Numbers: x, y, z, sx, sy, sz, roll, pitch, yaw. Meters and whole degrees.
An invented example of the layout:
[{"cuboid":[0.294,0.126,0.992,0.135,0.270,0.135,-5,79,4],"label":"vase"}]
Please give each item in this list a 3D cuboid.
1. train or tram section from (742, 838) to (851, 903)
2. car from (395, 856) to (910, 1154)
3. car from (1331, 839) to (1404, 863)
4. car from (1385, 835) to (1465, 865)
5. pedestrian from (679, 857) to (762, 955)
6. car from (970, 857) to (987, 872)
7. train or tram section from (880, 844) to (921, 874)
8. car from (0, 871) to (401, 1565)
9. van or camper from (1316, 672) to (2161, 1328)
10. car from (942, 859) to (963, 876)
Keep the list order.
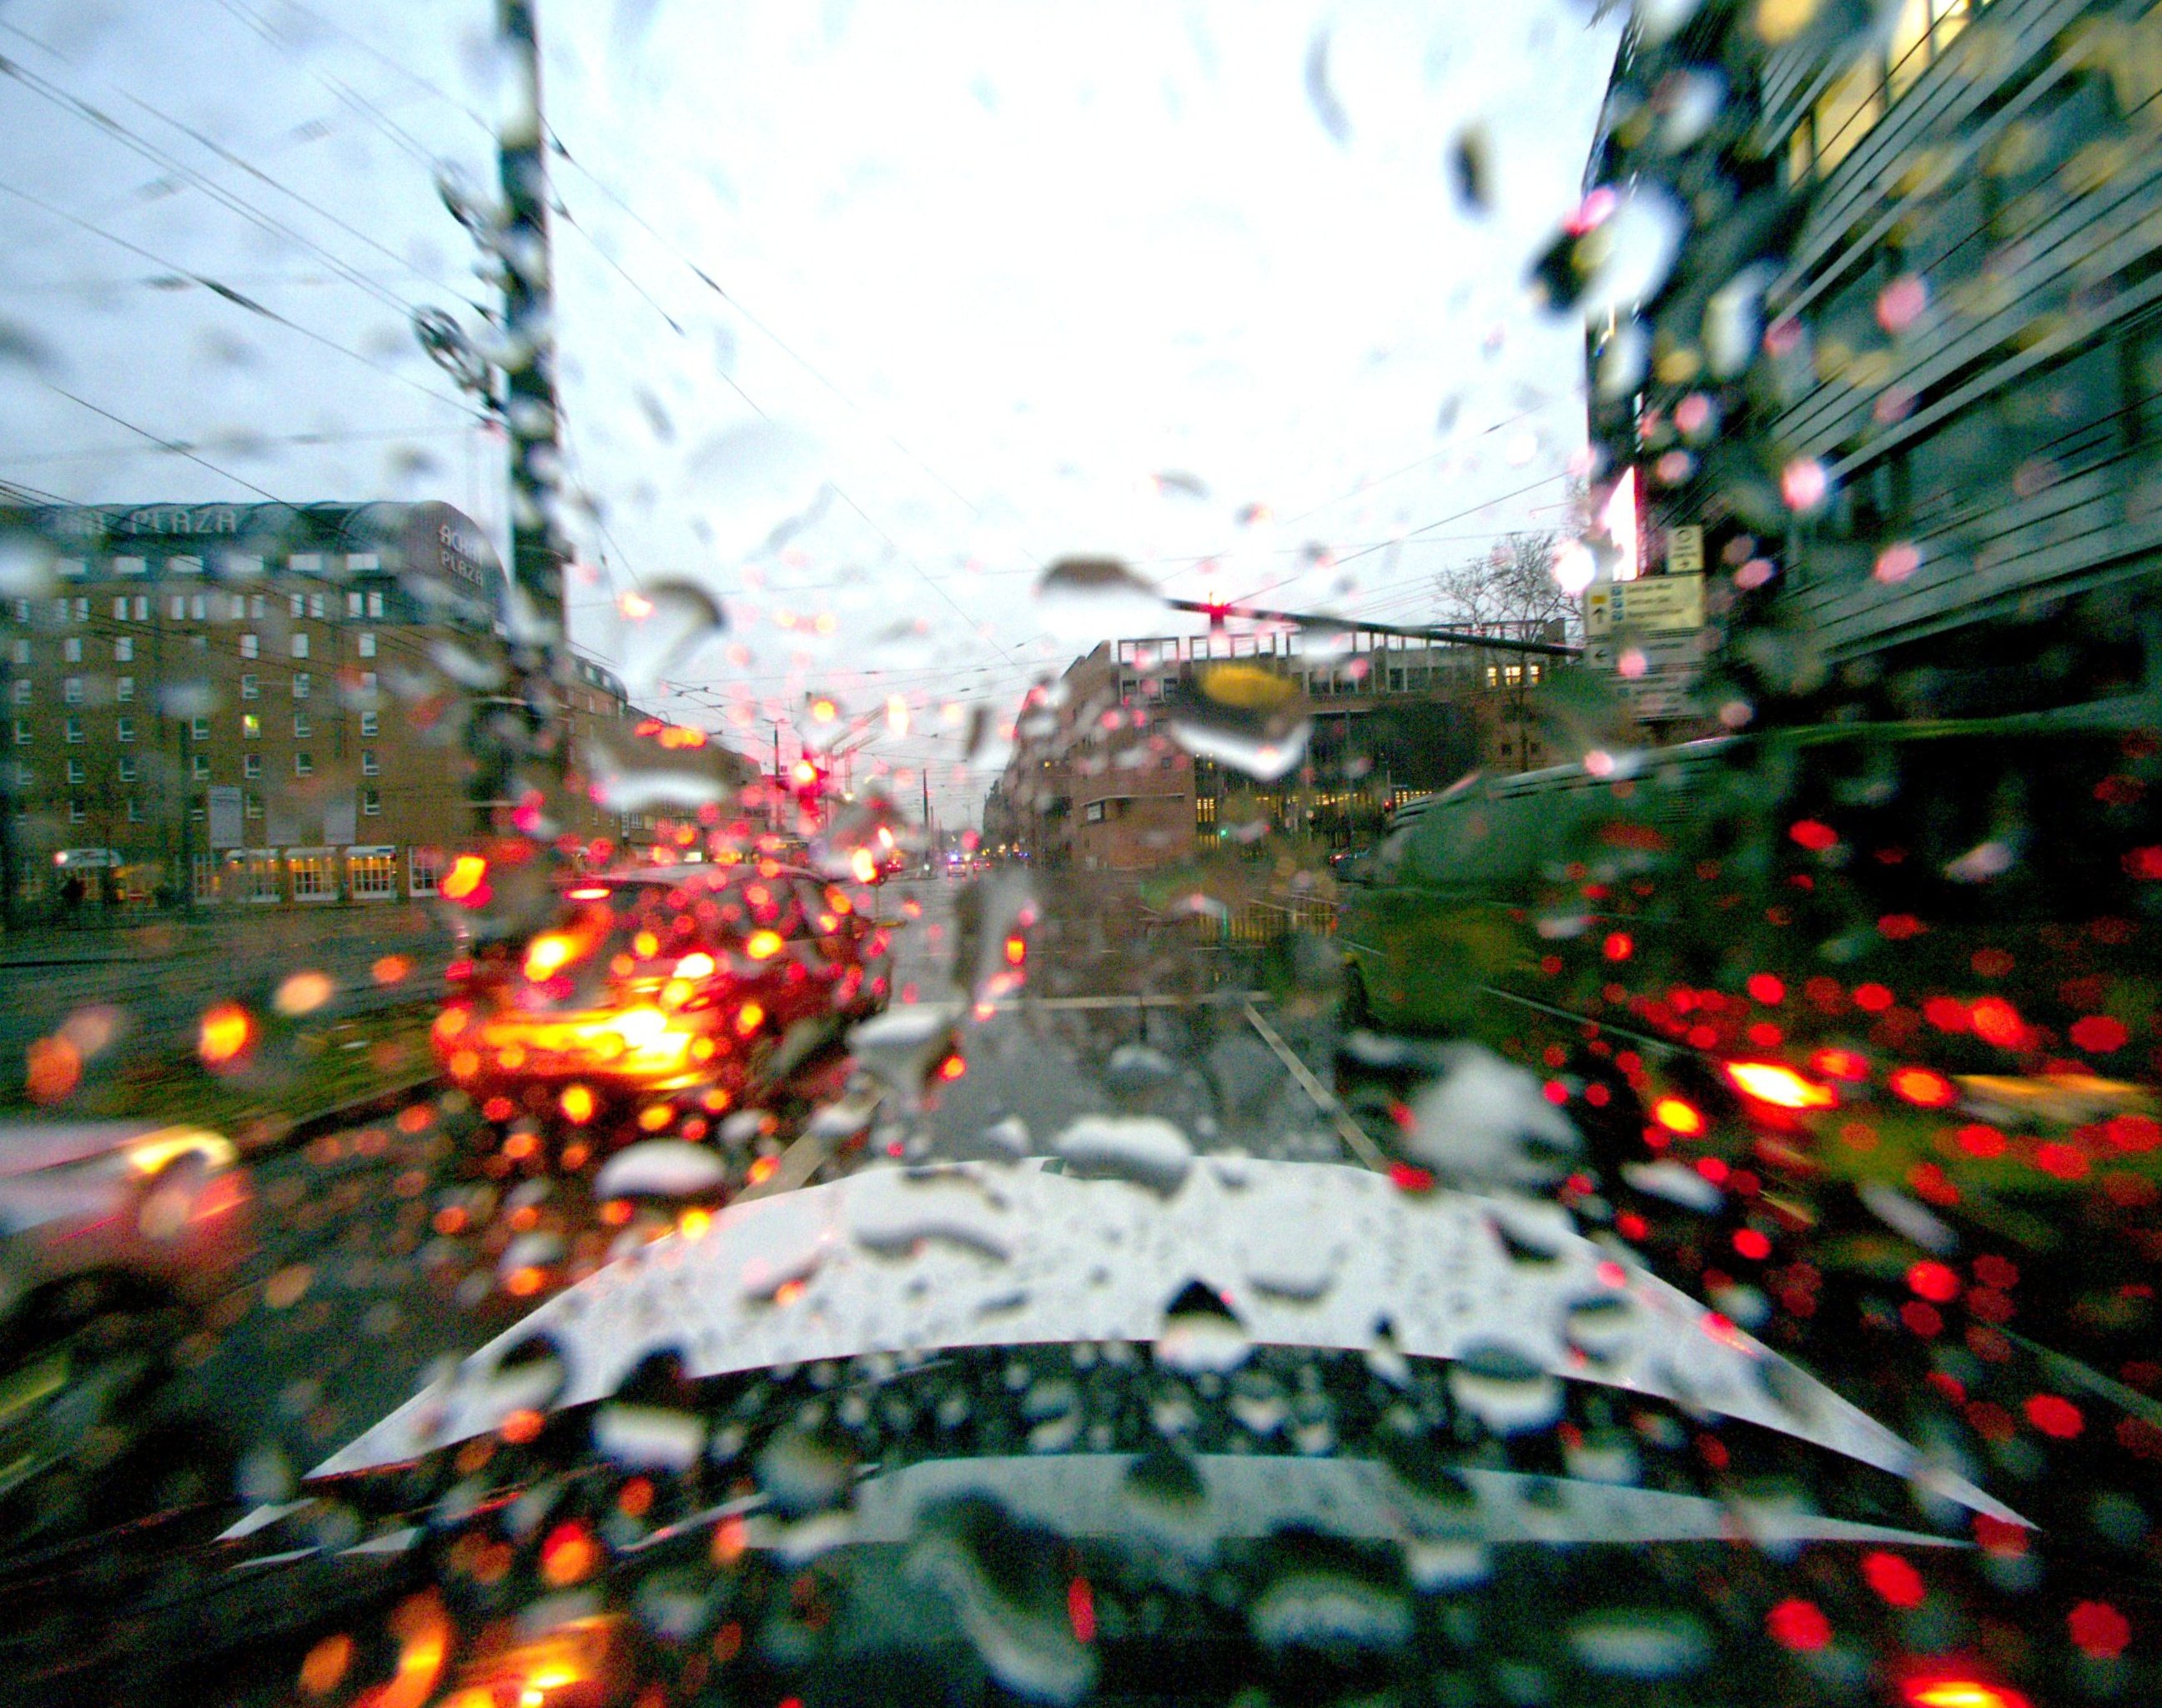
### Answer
[{"cuboid":[-19.224,1.010,56.970,2.862,3.614,20.020,-2,0,-7],"label":"train or tram section"},{"cuboid":[-2.610,0.783,6.071,1.691,1.459,3.759,-2,0,2],"label":"car"},{"cuboid":[18.253,-0.190,51.990,3.980,1.262,1.845,-2,4,-4],"label":"car"},{"cuboid":[20.392,-0.250,48.368,3.980,1.504,1.845,-2,4,-4],"label":"car"},{"cuboid":[-6.319,0.899,14.284,0.707,1.601,1.043,-5,-1,43],"label":"pedestrian"},{"cuboid":[-11.330,1.177,90.225,1.868,1.578,3.991,0,0,-6],"label":"car"},{"cuboid":[-24.448,0.669,111.752,3.189,3.436,27.751,-2,0,-8],"label":"train or tram section"},{"cuboid":[-3.159,0.771,0.701,1.699,1.448,4.001,0,0,1],"label":"car"},{"cuboid":[2.790,0.417,4.591,1.750,1.906,4.420,-1,0,1],"label":"van or camper"},{"cuboid":[-12.216,1.264,77.541,1.870,1.578,3.989,0,0,-8],"label":"car"}]
